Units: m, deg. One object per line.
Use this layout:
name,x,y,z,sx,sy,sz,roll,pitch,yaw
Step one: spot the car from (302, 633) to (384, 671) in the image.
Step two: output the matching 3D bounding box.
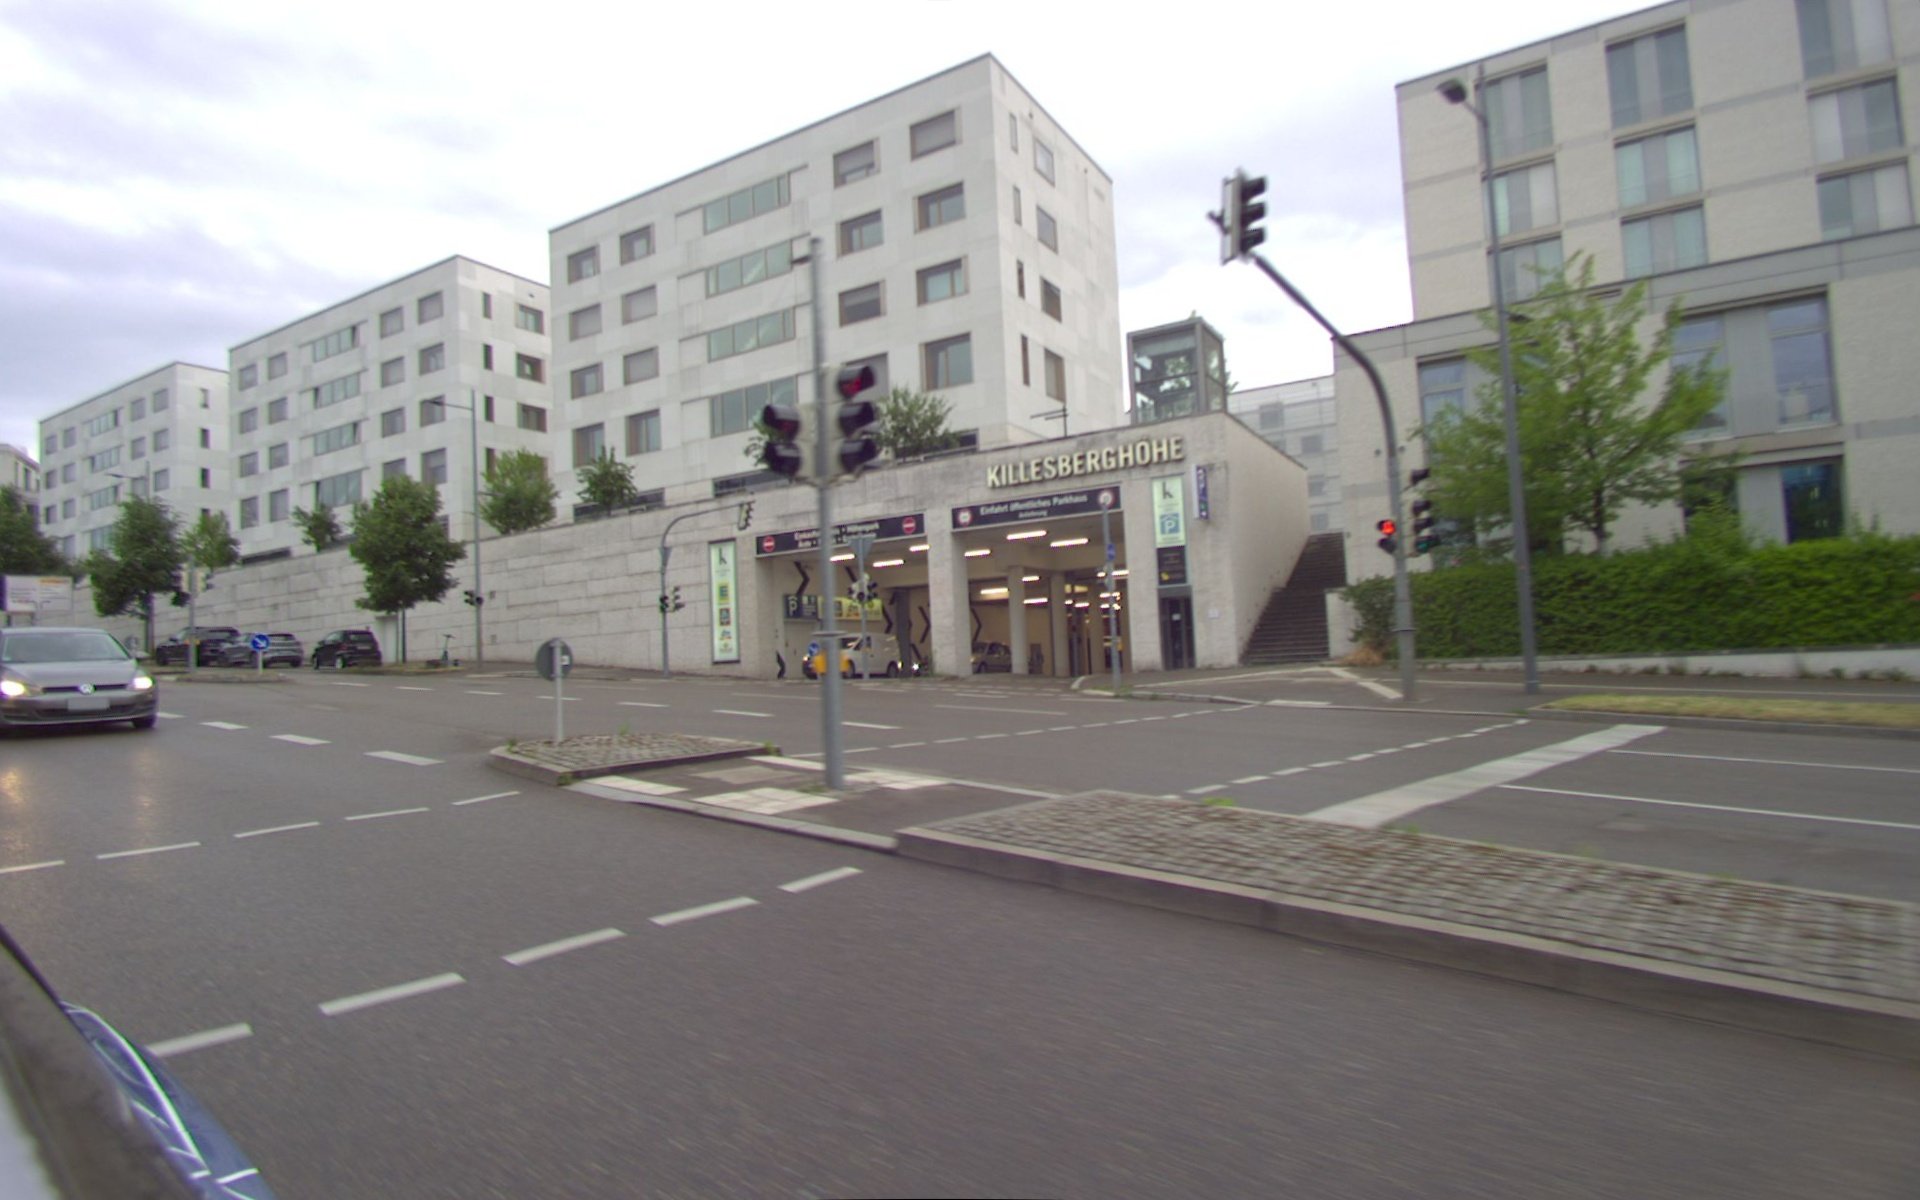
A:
car,-24.675,2.060,40.484,2.684,1.470,1.665,-2,-2,28

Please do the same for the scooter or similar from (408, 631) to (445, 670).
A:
scooter or similar,-20.694,1.938,39.256,1.258,1.479,0.429,0,-1,-28

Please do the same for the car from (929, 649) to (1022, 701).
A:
car,0.657,2.824,38.852,1.794,1.785,3.957,-2,-2,32

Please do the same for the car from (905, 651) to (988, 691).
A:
car,-0.531,3.017,43.585,1.603,1.455,4.156,-2,-1,31

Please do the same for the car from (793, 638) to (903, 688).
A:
car,-4.065,2.279,37.454,1.991,1.664,4.305,-2,-2,28

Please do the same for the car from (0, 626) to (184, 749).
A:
car,-12.716,1.126,14.220,4.290,1.452,1.854,-2,-1,38

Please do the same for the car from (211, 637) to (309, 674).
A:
car,-29.676,2.346,42.910,3.982,1.489,1.845,-2,-2,29

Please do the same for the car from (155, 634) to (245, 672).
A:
car,-34.043,2.362,45.332,3.982,1.644,1.773,-2,-2,29

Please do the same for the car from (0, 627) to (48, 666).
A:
car,-47.446,2.297,50.370,4.435,1.853,1.944,-2,-2,33
